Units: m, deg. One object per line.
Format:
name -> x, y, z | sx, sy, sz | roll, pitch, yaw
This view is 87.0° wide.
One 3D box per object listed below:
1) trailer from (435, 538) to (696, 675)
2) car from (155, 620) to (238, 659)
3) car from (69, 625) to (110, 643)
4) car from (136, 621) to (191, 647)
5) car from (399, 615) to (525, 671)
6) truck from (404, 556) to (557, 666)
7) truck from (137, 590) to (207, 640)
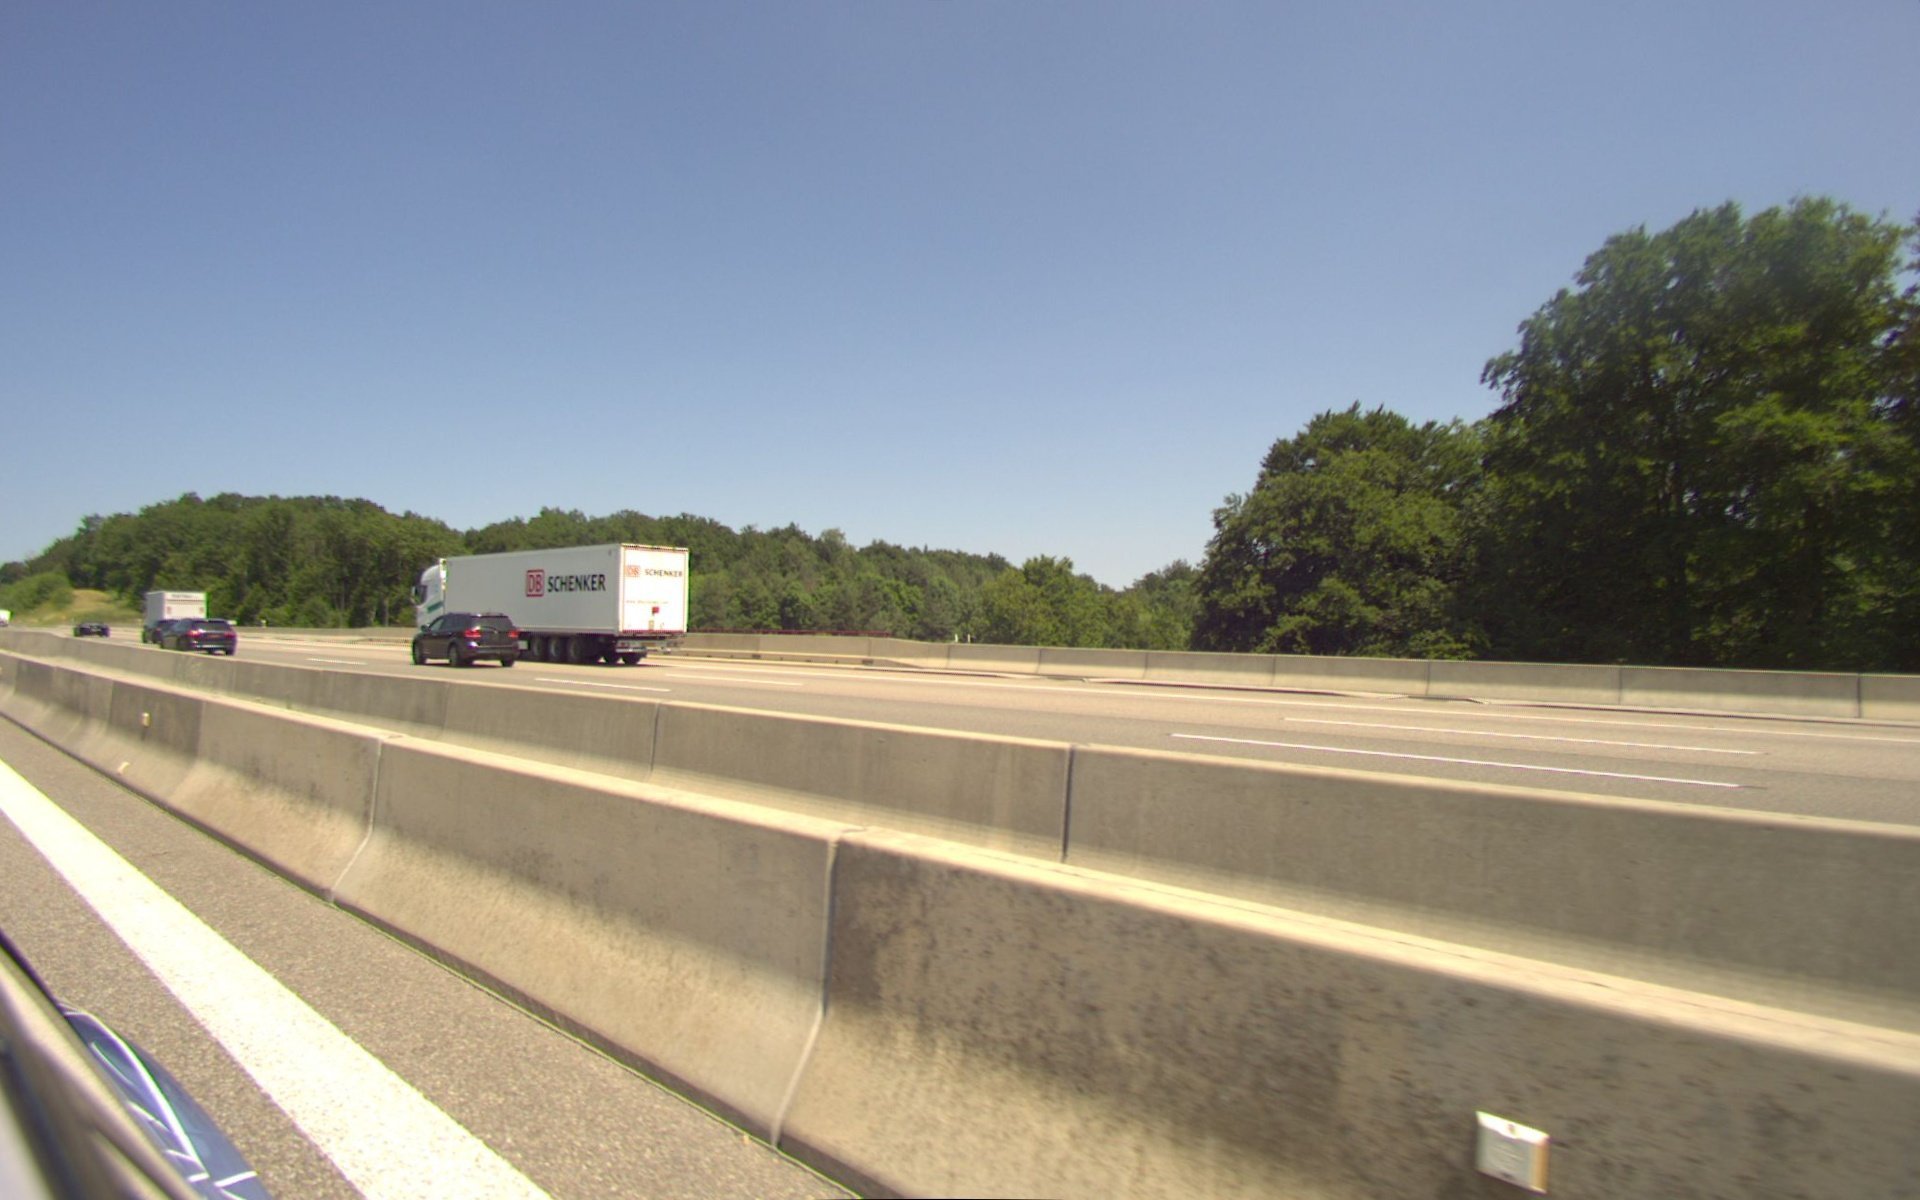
trailer -> -14.987, 0.381, 37.221 | 14.355, 4.257, 2.614 | -1, -3, 41
car -> -30.832, 1.548, 40.821 | 4.718, 1.492, 1.779 | -1, -2, 41
car -> -66.998, 2.586, 77.860 | 4.530, 1.386, 1.779 | -1, -2, 41
car -> -46.797, 1.986, 59.416 | 4.395, 1.492, 1.779 | -1, -2, 41
car -> -15.933, 1.333, 32.246 | 5.077, 1.655, 1.779 | -1, -2, 42
truck -> -19.695, 0.527, 41.350 | 7.873, 4.131, 2.686 | -1, -3, 41
truck -> -60.504, 1.214, 77.636 | 8.572, 3.598, 2.513 | -1, -3, 41
